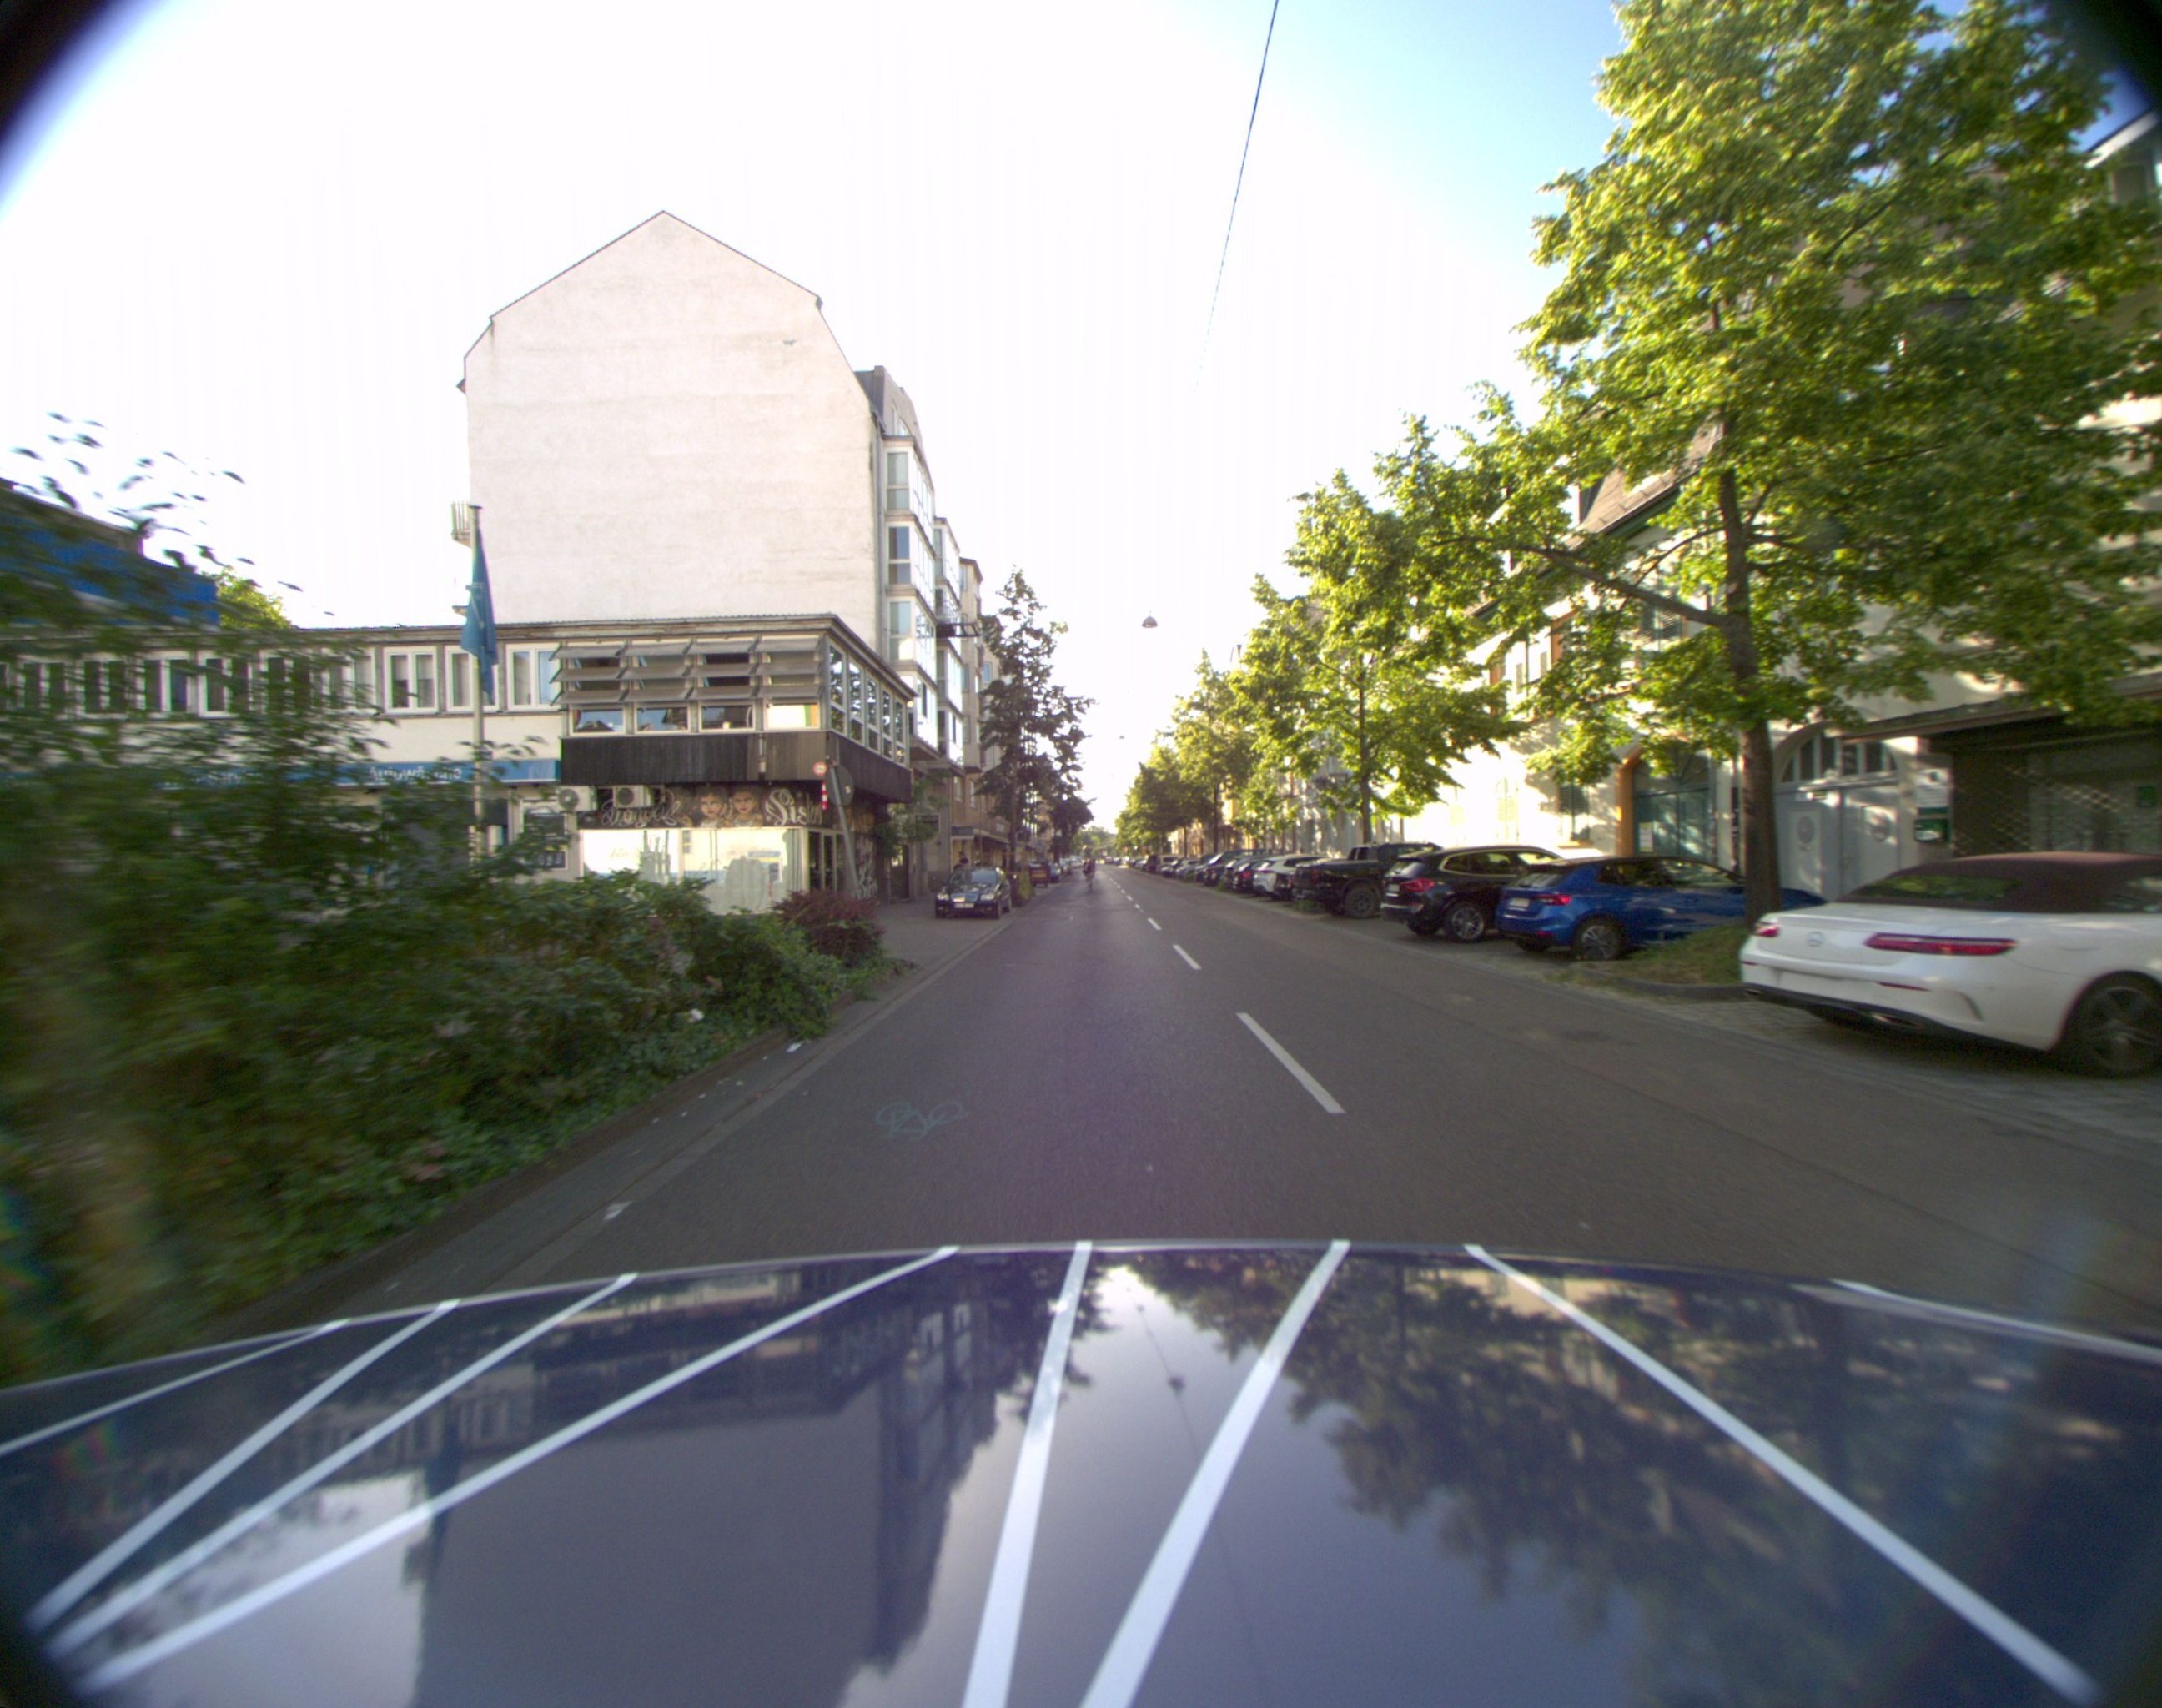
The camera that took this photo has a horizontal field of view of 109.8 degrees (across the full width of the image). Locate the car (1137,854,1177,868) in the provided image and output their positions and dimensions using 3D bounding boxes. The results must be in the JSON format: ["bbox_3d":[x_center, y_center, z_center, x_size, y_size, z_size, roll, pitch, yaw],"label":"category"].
[{"bbox_3d":[9.594,0.897,95.645,4.712,1.483,1.999,-3,1,-4],"label":"car"}]

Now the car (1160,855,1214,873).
[{"bbox_3d":[9.100,0.865,65.549,4.350,1.430,1.916,-2,0,-1],"label":"car"}]

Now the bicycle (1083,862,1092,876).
[{"bbox_3d":[0.570,1.264,63.660,0.666,1.061,1.836,-2,0,1],"label":"bicycle"}]

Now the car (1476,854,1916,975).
[{"bbox_3d":[8.445,0.795,10.788,4.691,1.455,1.808,-2,0,2],"label":"car"}]

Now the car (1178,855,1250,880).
[{"bbox_3d":[8.796,0.872,50.495,4.476,1.532,1.917,-2,0,4],"label":"car"}]

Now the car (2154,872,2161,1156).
[{"bbox_3d":[7.865,0.756,2.983,4.692,1.456,1.808,-2,0,1],"label":"car"}]

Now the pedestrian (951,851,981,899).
[{"bbox_3d":[-4.744,0.858,31.473,0.925,1.924,0.762,-1,0,26],"label":"pedestrian"}]

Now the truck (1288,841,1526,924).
[{"bbox_3d":[8.003,0.685,19.037,5.097,1.927,2.000,-1,0,0],"label":"truck"}]

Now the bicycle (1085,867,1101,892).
[{"bbox_3d":[0.583,1.239,36.964,0.718,1.105,2.269,-1,0,1],"label":"bicycle"}]

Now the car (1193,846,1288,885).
[{"bbox_3d":[8.493,0.615,40.795,4.691,1.938,1.917,-2,0,2],"label":"car"}]

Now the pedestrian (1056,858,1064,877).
[{"bbox_3d":[-1.789,1.123,64.310,0.652,1.527,0.980,-1,0,-1],"label":"pedestrian"}]

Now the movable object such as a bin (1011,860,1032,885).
[{"bbox_3d":[-3.478,1.058,44.586,1.080,1.423,1.295,-1,0,1],"label":"movable object such as a bin"}]

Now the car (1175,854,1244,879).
[{"bbox_3d":[8.937,0.859,53.068,4.477,1.532,1.916,-2,0,0],"label":"car"}]

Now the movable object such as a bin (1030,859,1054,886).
[{"bbox_3d":[-2.288,1.087,44.676,1.334,1.533,1.146,-1,0,1],"label":"movable object such as a bin"}]

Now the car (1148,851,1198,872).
[{"bbox_3d":[8.860,0.696,73.281,4.584,1.915,1.930,-2,0,3],"label":"car"}]

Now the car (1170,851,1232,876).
[{"bbox_3d":[9.036,0.717,57.580,4.350,1.699,1.916,-2,0,1],"label":"car"}]

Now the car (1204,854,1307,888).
[{"bbox_3d":[8.484,0.812,37.194,4.657,1.450,1.683,-2,0,1],"label":"car"}]

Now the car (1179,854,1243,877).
[{"bbox_3d":[9.452,0.826,55.383,4.350,1.572,1.809,-2,0,1],"label":"car"}]

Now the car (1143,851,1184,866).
[{"bbox_3d":[9.604,0.539,88.629,4.354,1.535,1.962,-2,0,-10],"label":"car"}]

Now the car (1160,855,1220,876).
[{"bbox_3d":[8.579,0.908,60.146,4.476,1.532,1.917,-2,0,3],"label":"car"}]

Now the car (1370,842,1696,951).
[{"bbox_3d":[7.875,0.717,13.598,4.691,1.683,1.808,-2,0,2],"label":"car"}]

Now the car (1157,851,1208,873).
[{"bbox_3d":[9.072,0.698,68.160,4.350,1.823,1.916,-2,0,0],"label":"car"}]

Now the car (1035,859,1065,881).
[{"bbox_3d":[-2.219,1.169,55.566,1.826,1.463,4.912,1,0,1],"label":"car"}]

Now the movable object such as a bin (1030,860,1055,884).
[{"bbox_3d":[-2.364,1.116,46.980,1.402,1.445,1.146,-1,0,1],"label":"movable object such as a bin"}]

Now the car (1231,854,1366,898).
[{"bbox_3d":[8.277,0.813,29.229,4.691,1.510,1.808,-2,0,2],"label":"car"}]

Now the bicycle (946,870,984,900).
[{"bbox_3d":[-4.697,1.232,30.722,0.683,1.142,1.680,-1,0,-41],"label":"bicycle"}]

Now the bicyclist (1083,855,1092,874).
[{"bbox_3d":[0.550,0.849,63.649,0.658,1.562,0.909,-2,1,1],"label":"bicyclist"}]

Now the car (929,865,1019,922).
[{"bbox_3d":[-3.001,1.072,22.281,1.905,1.404,4.647,1,0,1],"label":"car"}]

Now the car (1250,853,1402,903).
[{"bbox_3d":[8.418,0.801,26.376,4.691,1.563,1.808,-2,0,2],"label":"car"}]

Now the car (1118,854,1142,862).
[{"bbox_3d":[9.500,0.751,147.215,4.006,1.553,1.995,-2,0,-30],"label":"car"}]

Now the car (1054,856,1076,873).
[{"bbox_3d":[-1.678,1.094,81.350,1.826,1.767,4.932,1,0,5],"label":"car"}]

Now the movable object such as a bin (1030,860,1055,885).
[{"bbox_3d":[-2.315,1.124,45.842,1.402,1.445,1.146,-1,0,1],"label":"movable object such as a bin"}]

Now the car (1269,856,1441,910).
[{"bbox_3d":[8.389,0.876,23.582,4.691,1.454,1.808,-2,0,2],"label":"car"}]

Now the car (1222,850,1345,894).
[{"bbox_3d":[8.426,0.736,31.972,4.691,1.702,1.808,-2,0,2],"label":"car"}]

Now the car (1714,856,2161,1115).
[{"bbox_3d":[7.732,0.791,5.600,4.693,1.456,1.808,-2,0,-2],"label":"car"}]

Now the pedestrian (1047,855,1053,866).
[{"bbox_3d":[-5.025,1.031,123.350,0.617,1.682,0.676,2,3,45],"label":"pedestrian"}]

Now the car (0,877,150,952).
[{"bbox_3d":[-21.876,1.183,15.498,3.994,1.350,1.908,0,0,10],"label":"car"}]

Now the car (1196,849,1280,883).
[{"bbox_3d":[9.022,0.682,43.959,4.476,1.761,1.917,-2,0,2],"label":"car"}]

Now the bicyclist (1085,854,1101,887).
[{"bbox_3d":[0.574,0.775,36.856,0.718,1.553,0.864,-1,1,1],"label":"bicyclist"}]

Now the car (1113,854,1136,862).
[{"bbox_3d":[8.629,0.827,149.445,4.006,1.433,1.995,-2,0,-30],"label":"car"}]

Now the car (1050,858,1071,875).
[{"bbox_3d":[-1.985,1.195,74.991,1.826,1.587,4.842,1,0,1],"label":"car"}]
